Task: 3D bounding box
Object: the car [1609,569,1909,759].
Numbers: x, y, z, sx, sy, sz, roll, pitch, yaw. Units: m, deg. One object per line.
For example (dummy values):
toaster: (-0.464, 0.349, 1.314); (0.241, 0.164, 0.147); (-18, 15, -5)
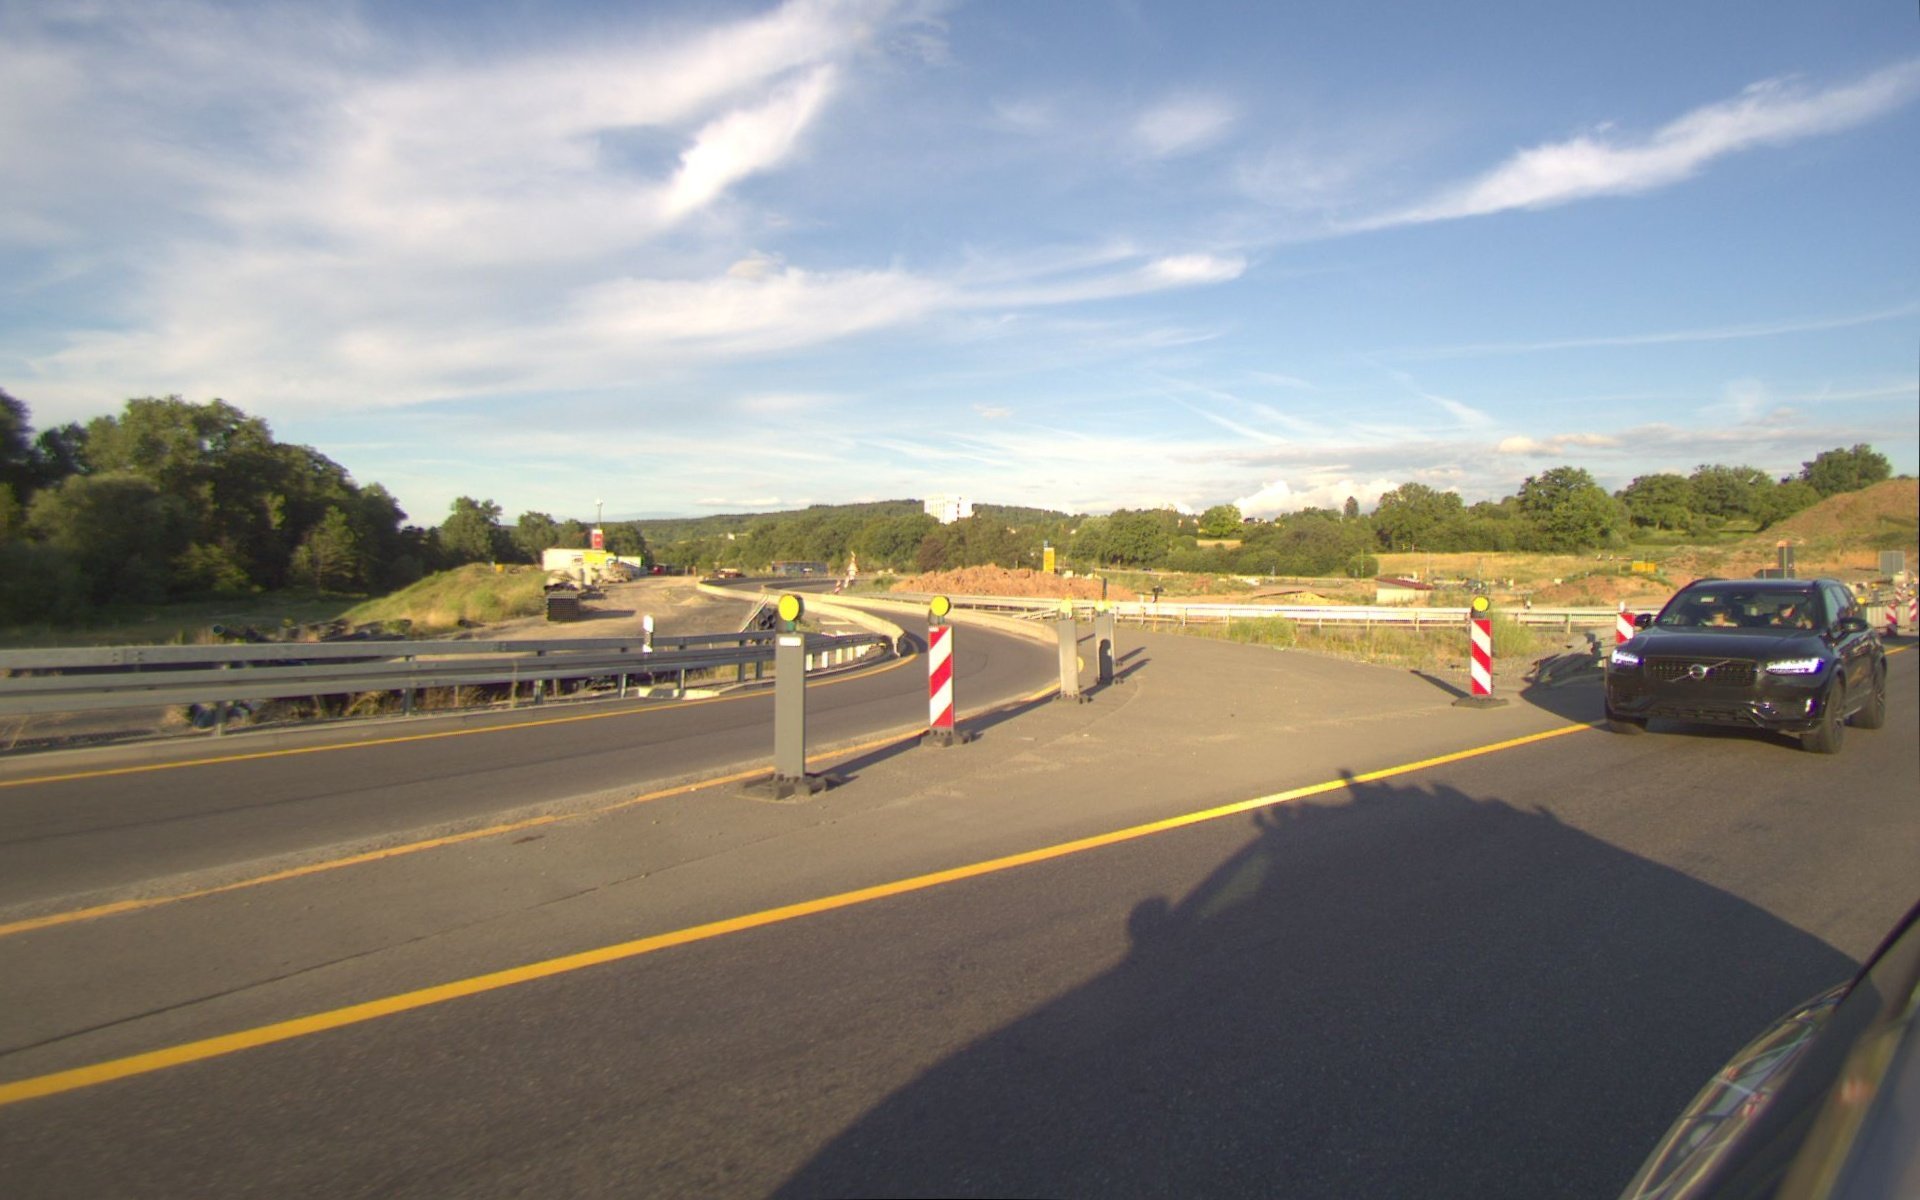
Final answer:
car: (9.242, 0.554, 11.543); (4.803, 1.734, 1.900); (0, 1, -42)
